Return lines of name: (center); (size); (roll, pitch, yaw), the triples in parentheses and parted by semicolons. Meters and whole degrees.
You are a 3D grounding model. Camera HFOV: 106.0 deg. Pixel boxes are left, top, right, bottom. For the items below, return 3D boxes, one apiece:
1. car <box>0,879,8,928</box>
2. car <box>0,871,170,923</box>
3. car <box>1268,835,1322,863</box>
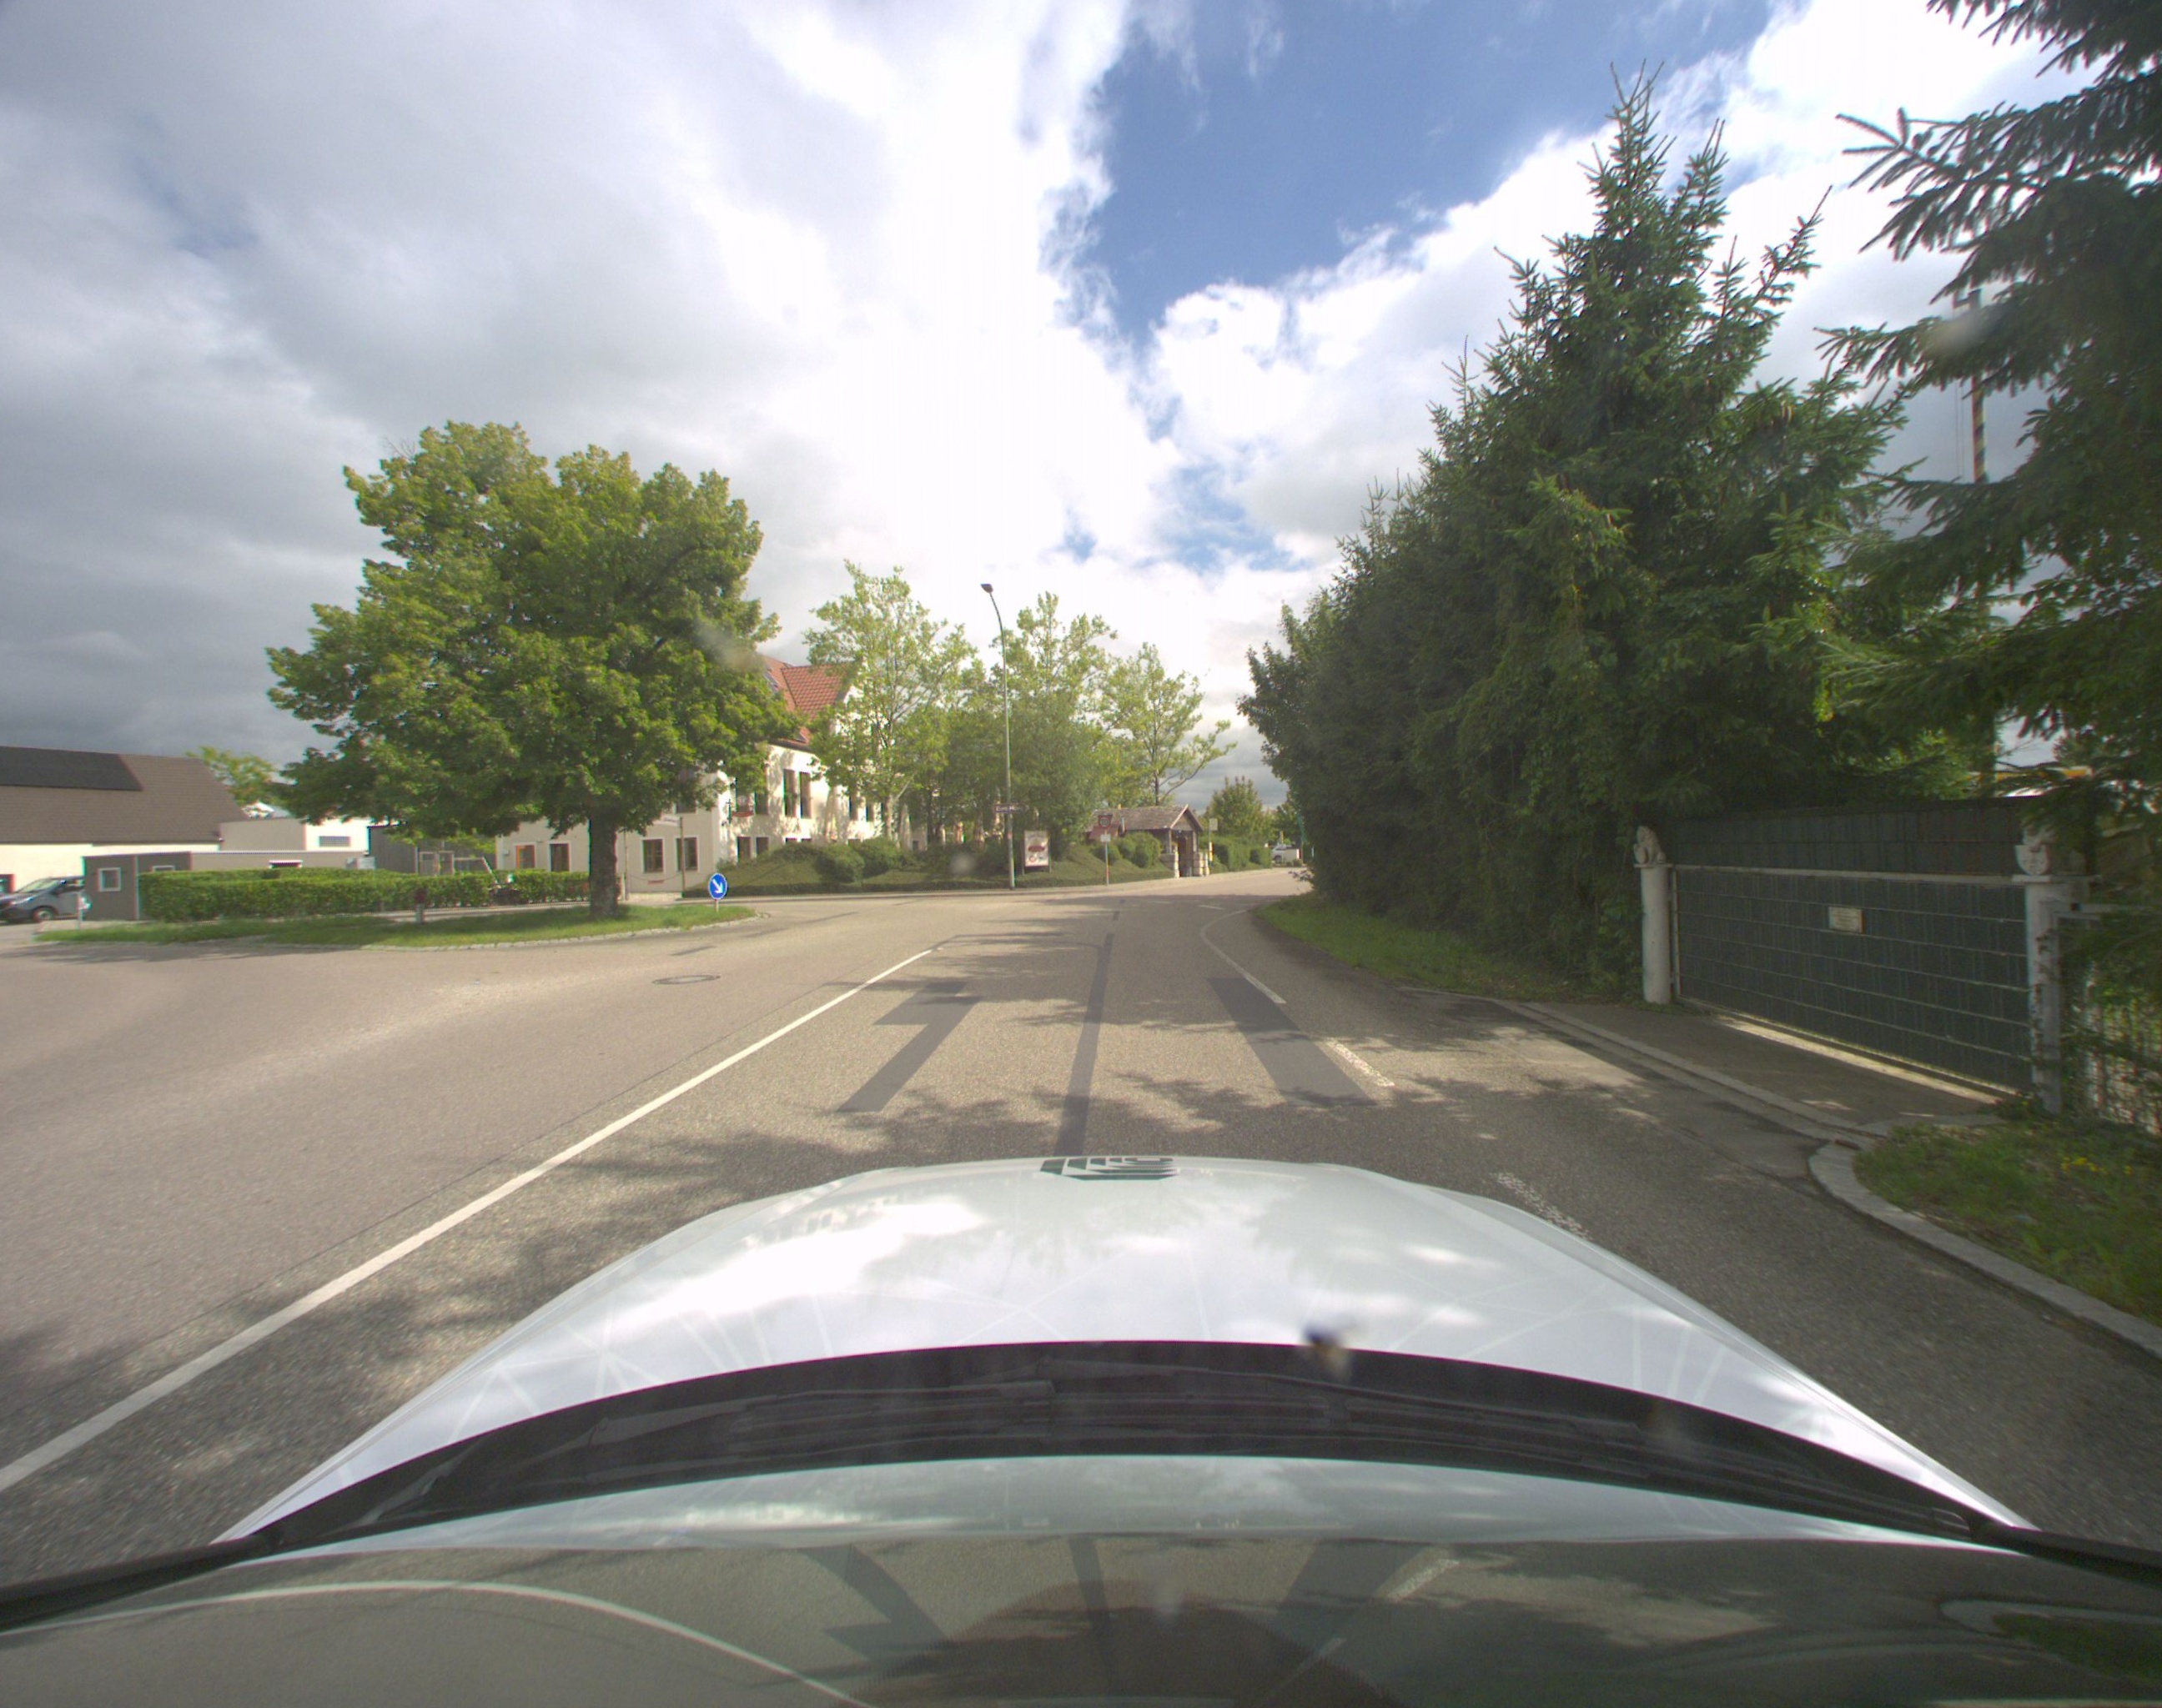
car: (-45.690, 2.074, 31.714); (1.980, 2.013, 4.213); (-2, 0, 11)
car: (-44.427, 1.847, 36.171); (1.980, 2.013, 4.916); (-2, 0, 11)
car: (17.798, -0.420, 67.740); (3.951, 2.123, 1.973); (-2, 0, 24)
